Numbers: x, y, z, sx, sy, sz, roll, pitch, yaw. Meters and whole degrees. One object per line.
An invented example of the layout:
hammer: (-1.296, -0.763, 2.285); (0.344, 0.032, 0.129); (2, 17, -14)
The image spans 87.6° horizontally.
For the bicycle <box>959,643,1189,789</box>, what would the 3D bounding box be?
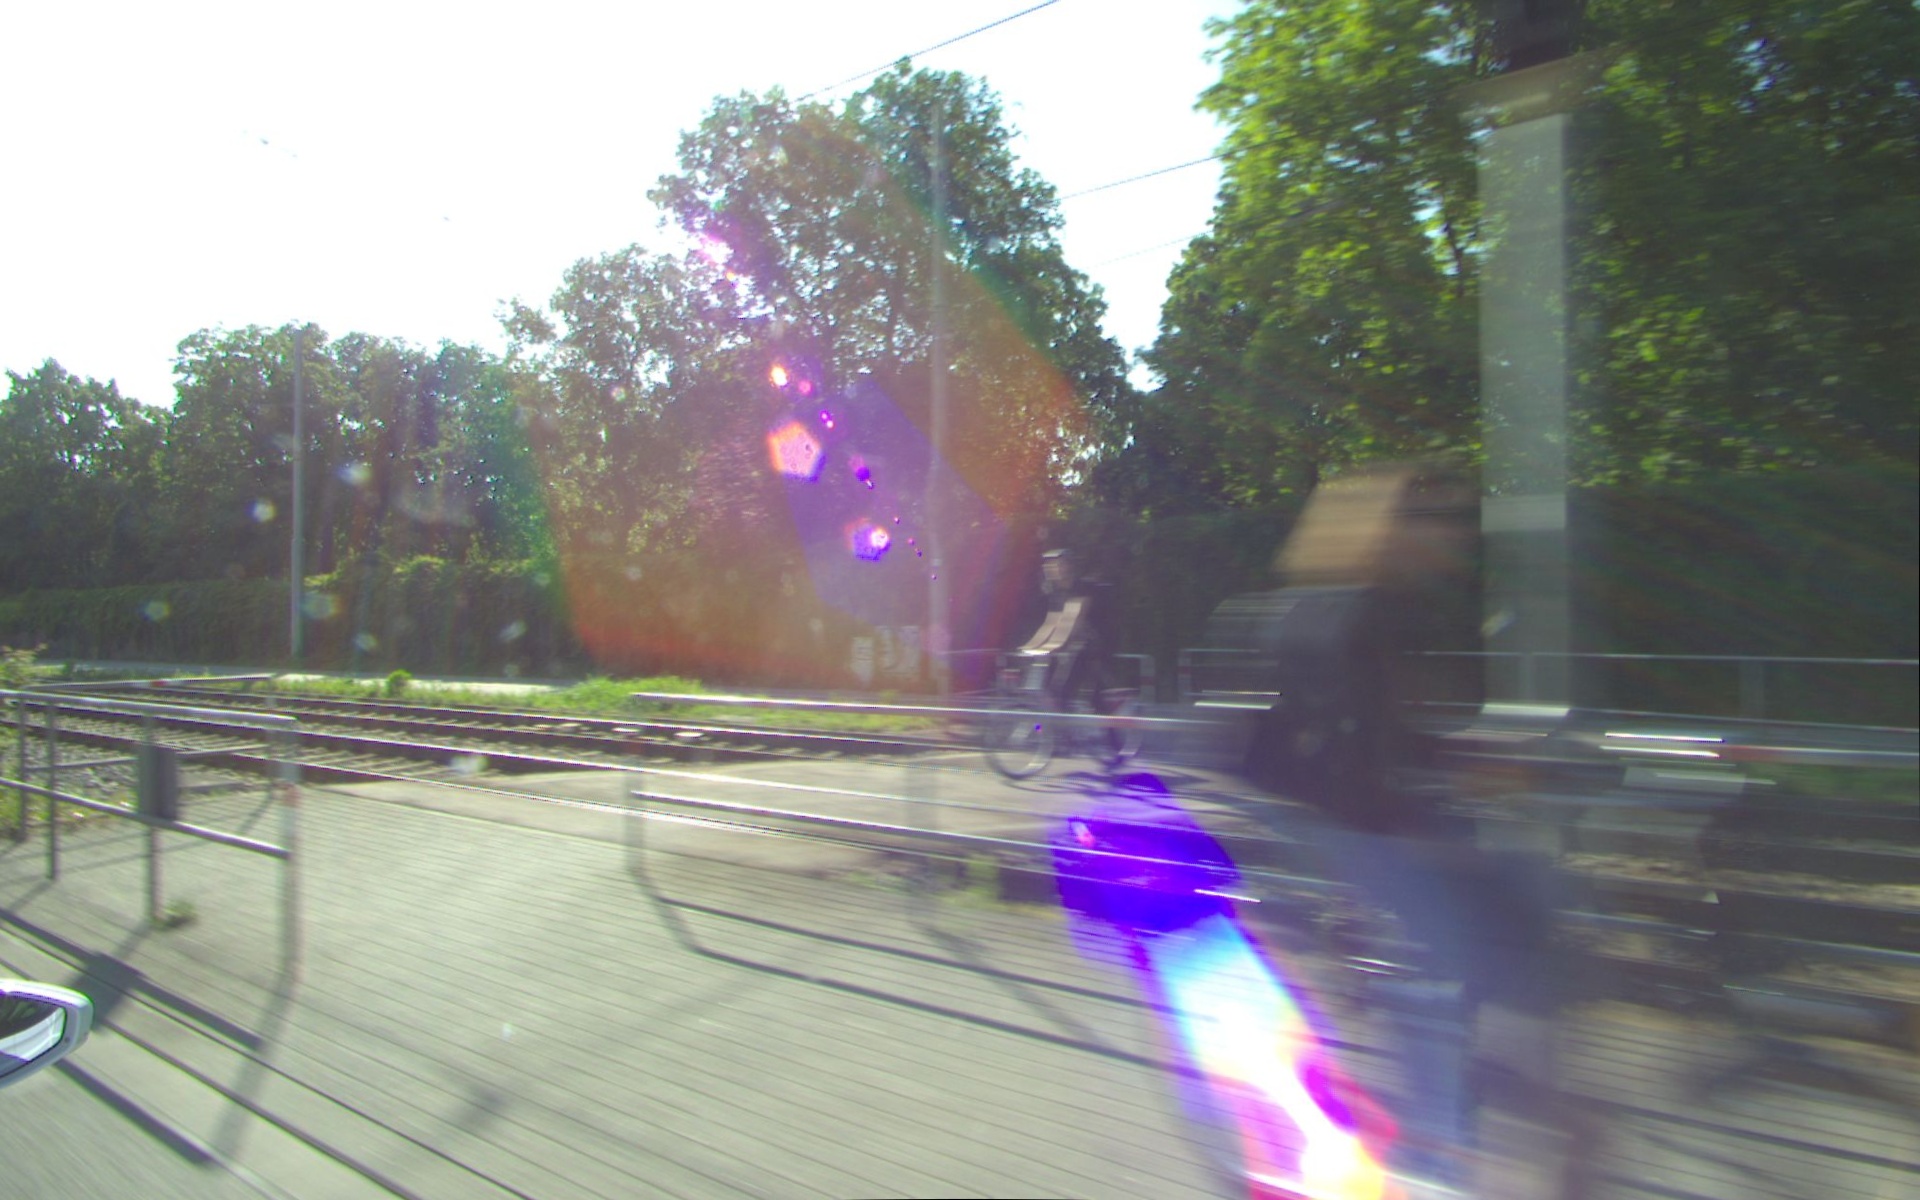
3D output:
bicycle: (1.035, 0.977, 9.003); (1.901, 1.129, 0.942); (0, -1, -33)

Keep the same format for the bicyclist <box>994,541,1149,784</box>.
bicyclist: (0.990, 0.531, 8.984); (1.022, 2.019, 0.942); (0, -1, -33)

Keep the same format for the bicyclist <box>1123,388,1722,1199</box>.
bicyclist: (0.946, 0.397, 2.163); (0.638, 1.434, 1.004); (0, -1, -40)

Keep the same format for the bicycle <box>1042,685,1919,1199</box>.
bicycle: (1.069, 0.816, 2.023); (0.638, 1.169, 1.920); (0, -1, -40)
